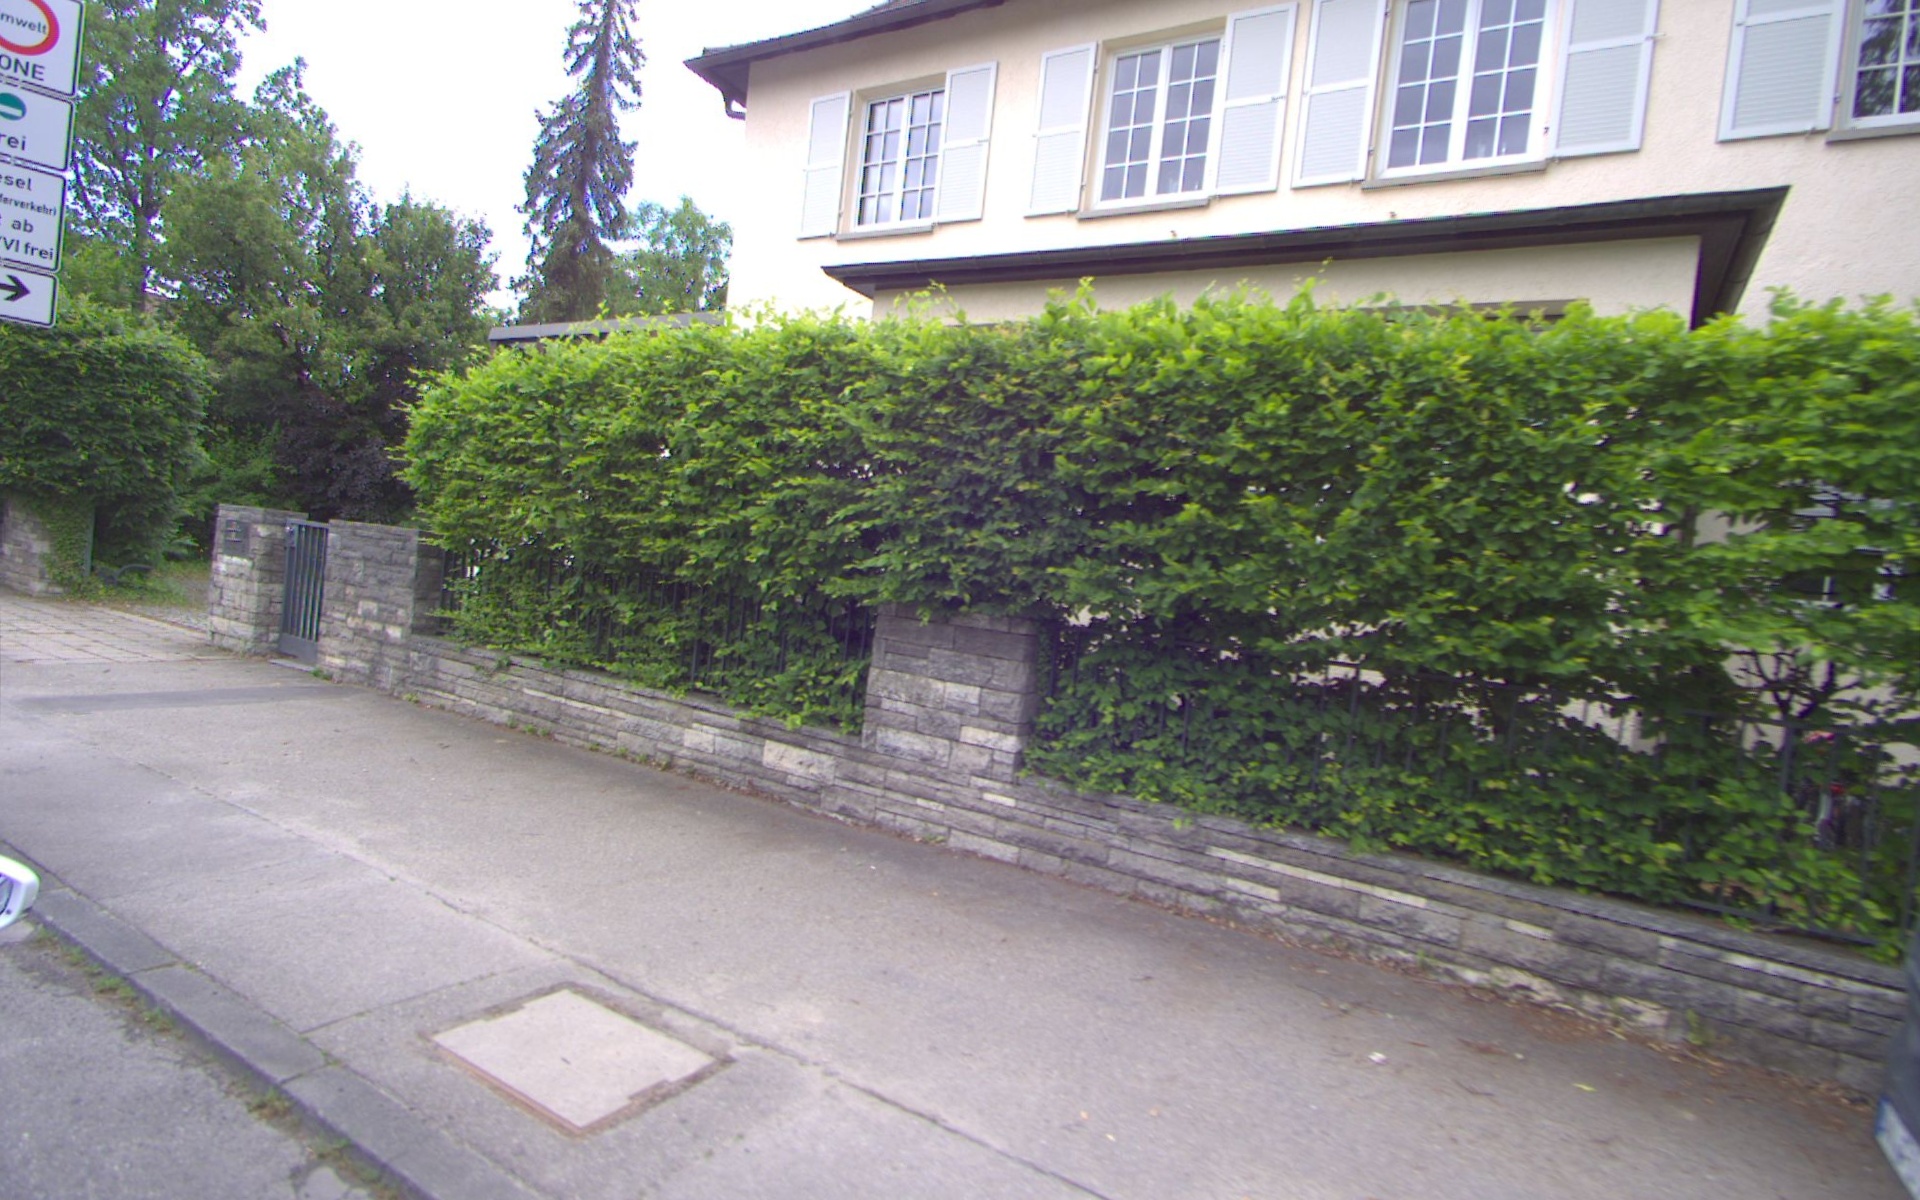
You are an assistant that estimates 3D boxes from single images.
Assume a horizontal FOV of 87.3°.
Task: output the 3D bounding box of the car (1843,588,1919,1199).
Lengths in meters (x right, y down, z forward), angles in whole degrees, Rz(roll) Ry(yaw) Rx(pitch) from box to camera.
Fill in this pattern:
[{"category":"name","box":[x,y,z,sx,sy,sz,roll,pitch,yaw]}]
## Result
[{"category":"car","box":[5.182,0.675,0.511,6.568,2.639,2.091,7,2,30]}]
